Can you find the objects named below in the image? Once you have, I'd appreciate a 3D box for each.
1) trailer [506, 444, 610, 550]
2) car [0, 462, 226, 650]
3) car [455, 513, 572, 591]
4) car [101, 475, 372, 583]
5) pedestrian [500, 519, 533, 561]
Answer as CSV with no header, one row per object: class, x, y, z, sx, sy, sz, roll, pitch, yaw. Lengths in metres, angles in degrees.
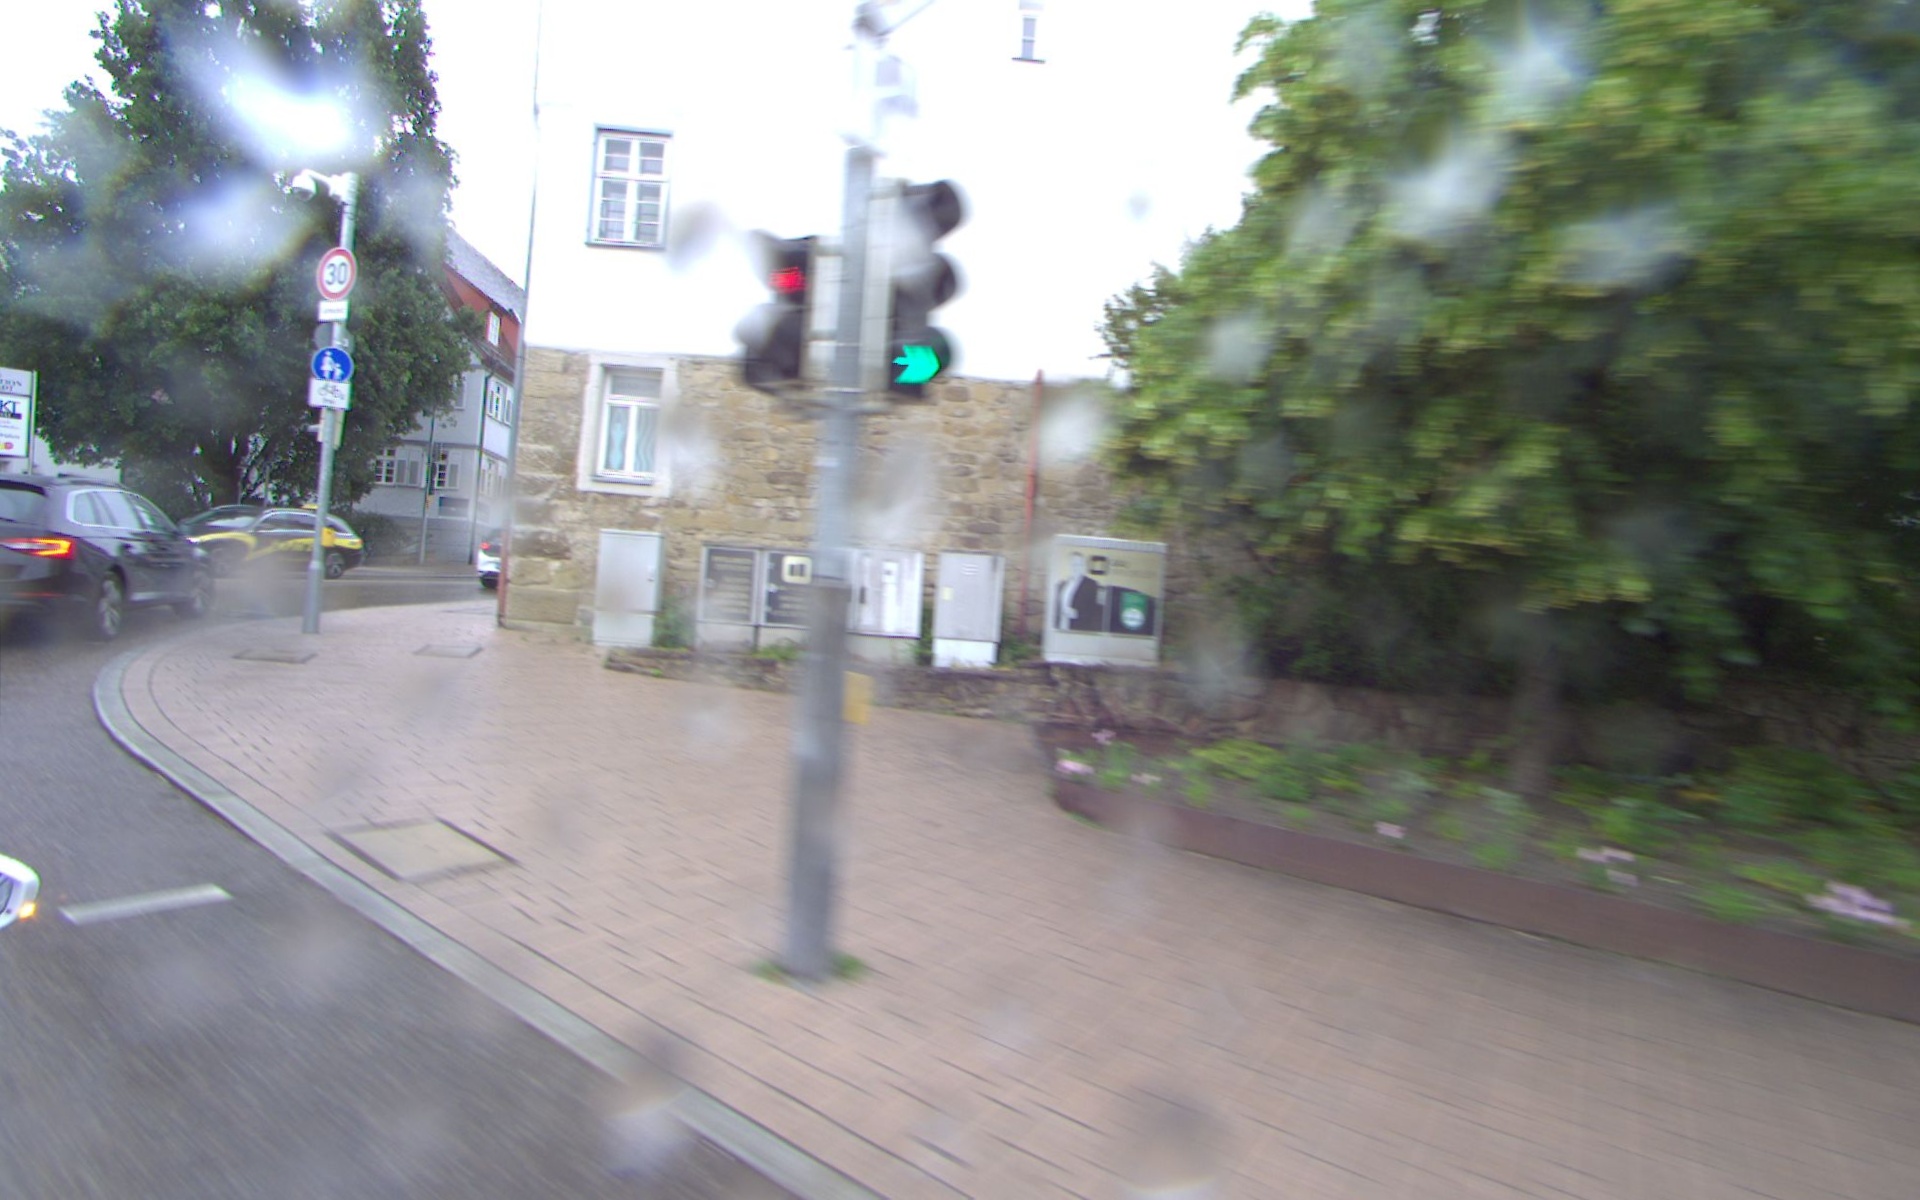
trailer,-15.919,-3.986,40.135,1.963,3.579,4.572,6,1,0
car,-9.004,-0.553,9.937,1.869,1.466,4.329,7,1,-25
car,-10.699,-1.079,24.385,1.833,1.490,3.989,7,-1,-15
car,-14.689,-1.352,20.819,1.962,1.557,4.418,6,-1,7
pedestrian,-17.267,-2.318,39.202,0.696,1.550,1.044,6,3,2
